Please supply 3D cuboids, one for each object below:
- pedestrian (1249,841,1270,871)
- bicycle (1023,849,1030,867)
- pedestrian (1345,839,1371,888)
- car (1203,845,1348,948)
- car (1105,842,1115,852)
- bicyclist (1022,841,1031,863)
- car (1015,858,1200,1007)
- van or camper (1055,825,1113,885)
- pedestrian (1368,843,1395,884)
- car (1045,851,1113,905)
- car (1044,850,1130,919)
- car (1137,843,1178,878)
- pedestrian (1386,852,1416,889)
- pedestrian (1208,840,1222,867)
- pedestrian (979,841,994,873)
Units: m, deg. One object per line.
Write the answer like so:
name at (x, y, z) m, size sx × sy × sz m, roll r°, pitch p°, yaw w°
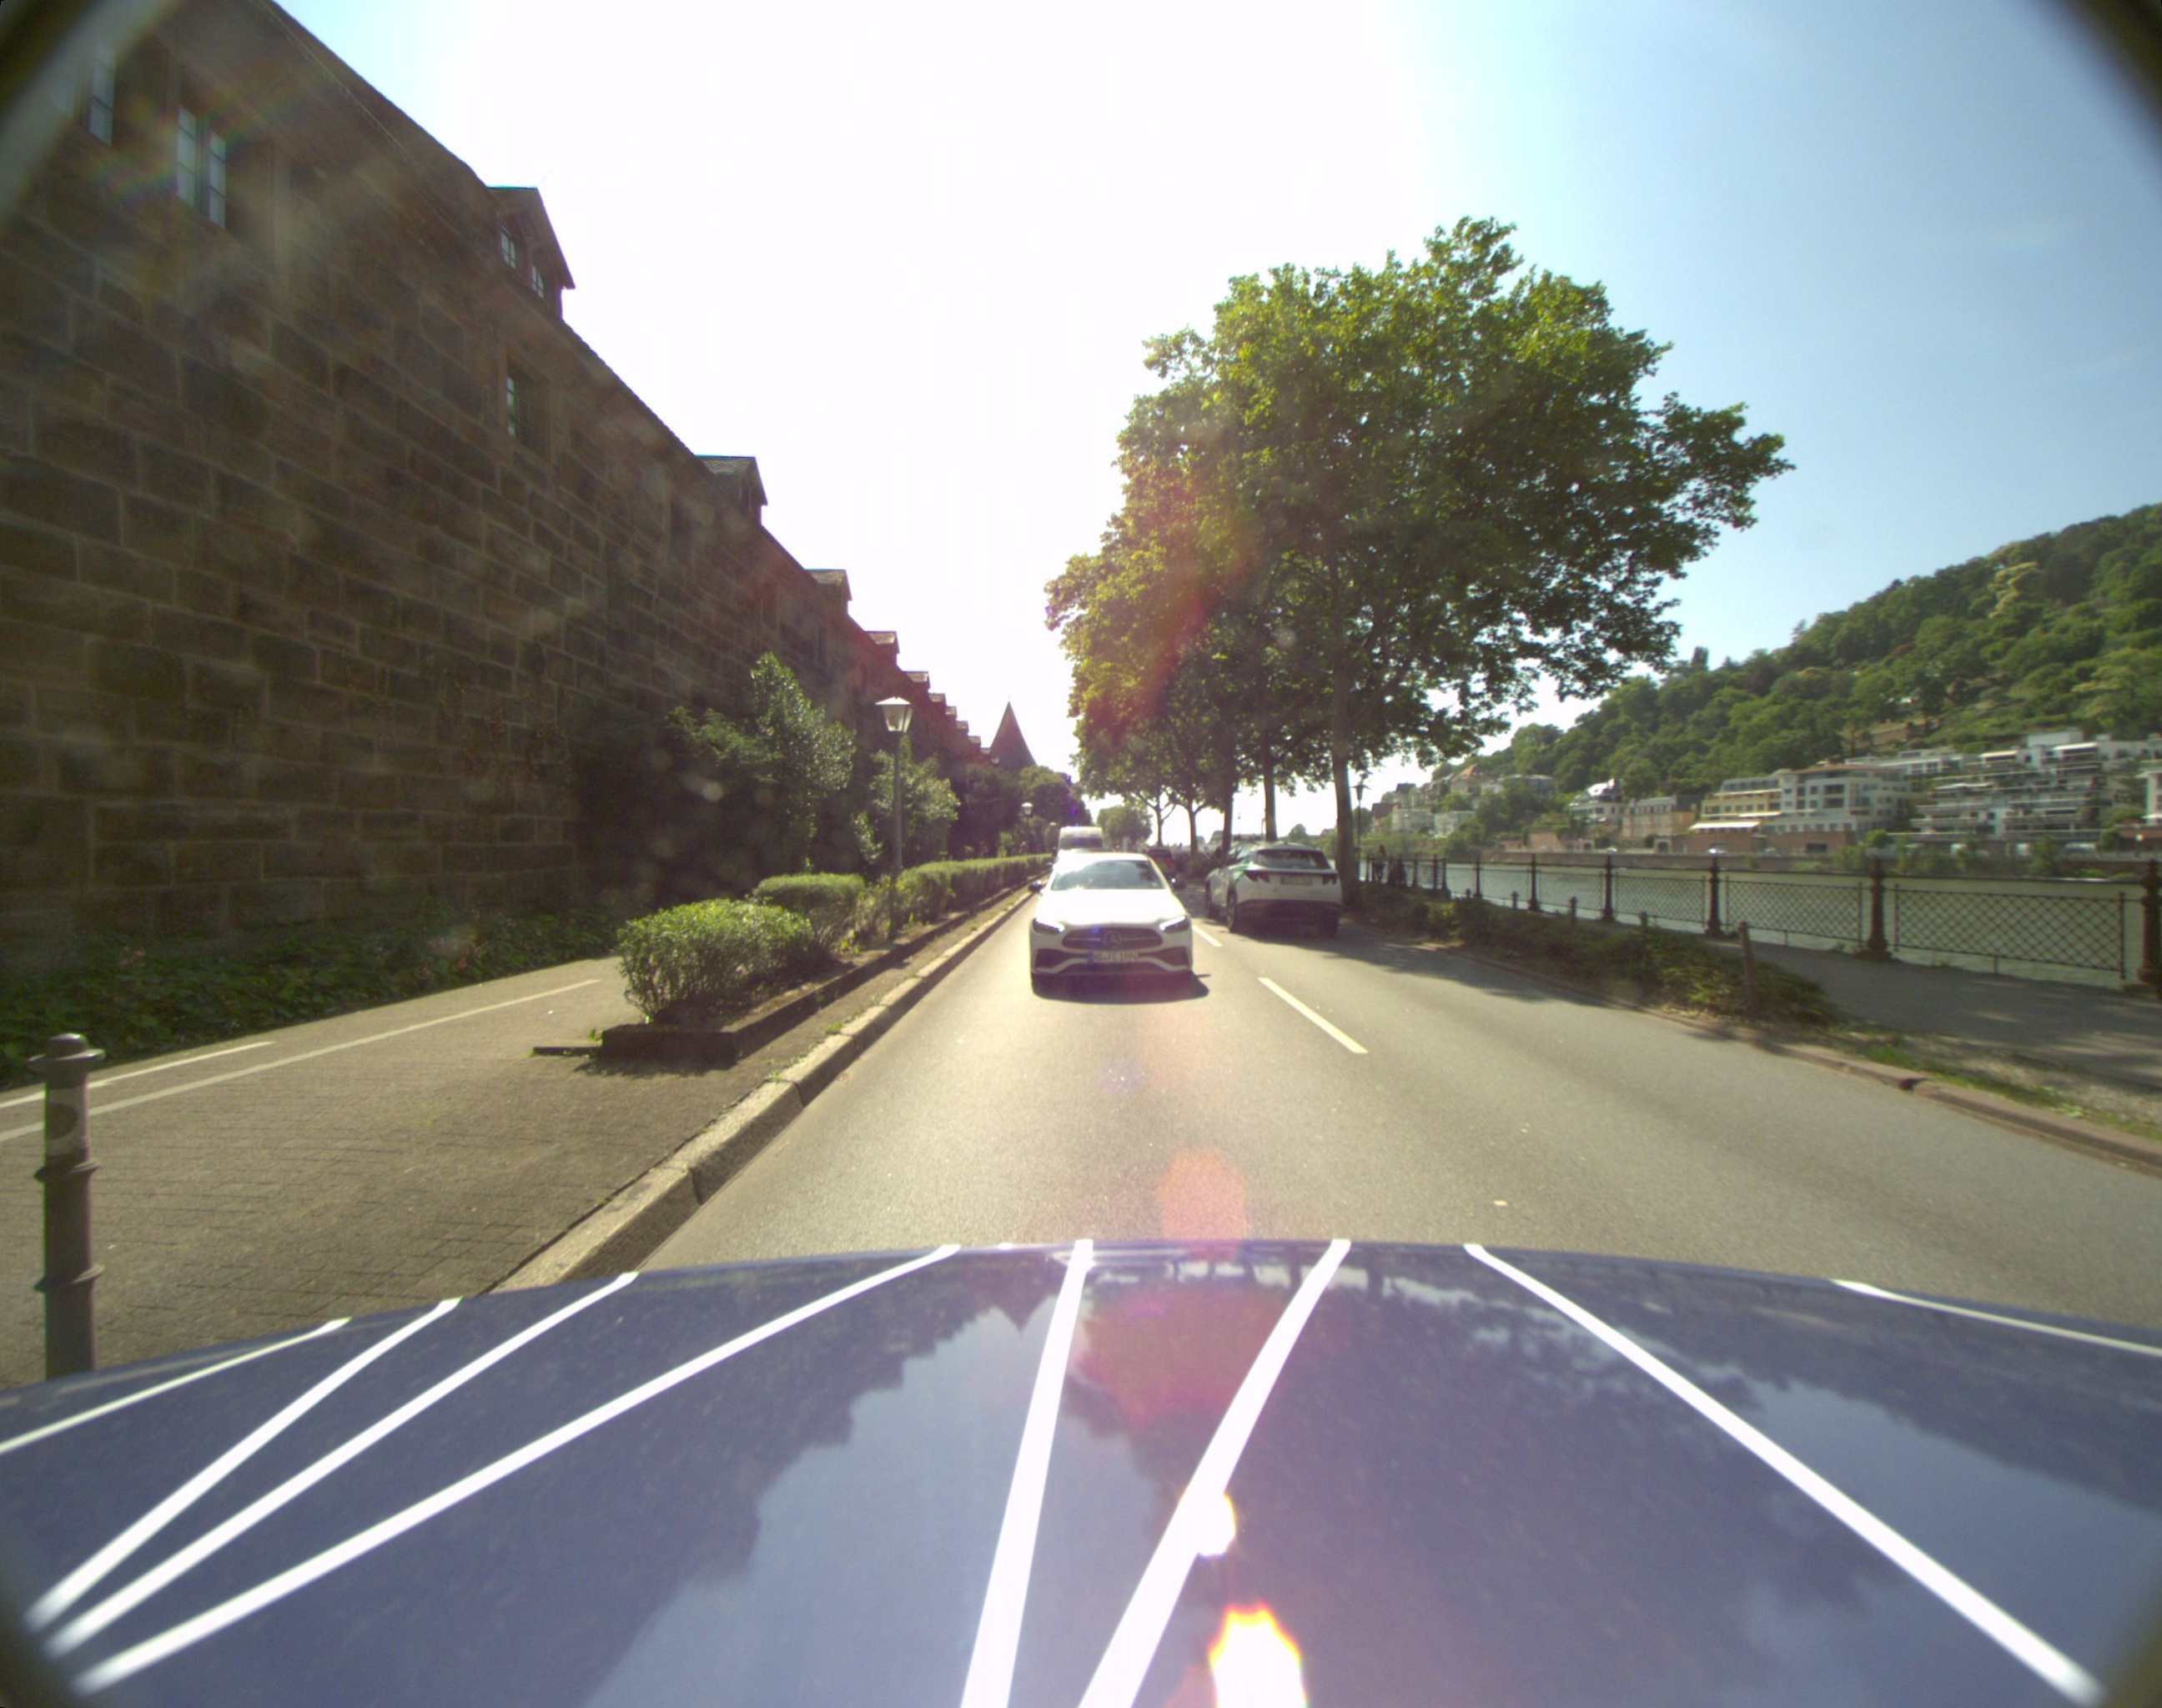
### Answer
pedestrian at (12.046, 0.123, 51.220) m, size 1.047 × 2.002 × 1.036 m, roll -1°, pitch 2°, yaw 31°
bicycle at (-3.783, 0.280, 53.131) m, size 0.406 × 1.169 × 1.576 m, roll -2°, pitch 2°, yaw -2°
pedestrian at (10.874, 0.372, 29.836) m, size 0.767 × 1.890 × 0.771 m, roll 1°, pitch 1°, yaw 8°
car at (3.542, 0.688, 14.614) m, size 1.773 × 1.650 × 4.000 m, roll 2°, pitch 1°, yaw 1°
car at (6.557, -1.601, 172.361) m, size 2.165 × 2.002 × 3.999 m, roll -2°, pitch 1°, yaw 1°
bicyclist at (-3.811, -0.117, 53.287) m, size 0.550 × 1.514 × 0.583 m, roll -2°, pitch 2°, yaw -1°
car at (0.298, 0.804, 9.806) m, size 1.833 × 1.395 × 4.269 m, roll -2°, pitch 1°, yaw 1°
van or camper at (0.131, 0.012, 33.336) m, size 2.313 × 2.358 × 5.034 m, roll 1°, pitch 1°, yaw 0°
pedestrian at (12.916, 0.393, 32.638) m, size 0.777 × 1.748 × 0.830 m, roll 1°, pitch 1°, yaw 0°
car at (-0.023, 0.650, 23.246) m, size 1.833 × 1.395 × 4.423 m, roll -2°, pitch 1°, yaw 1°
car at (0.163, 0.658, 18.625) m, size 1.833 × 1.428 × 4.269 m, roll -2°, pitch 1°, yaw 1°
car at (3.979, 0.289, 39.887) m, size 1.677 × 1.650 × 4.222 m, roll 3°, pitch 1°, yaw 0°
pedestrian at (12.137, 0.621, 28.835) m, size 0.768 × 1.379 × 0.770 m, roll 1°, pitch 1°, yaw 0°
pedestrian at (9.637, -0.036, 54.631) m, size 0.806 × 1.839 × 0.929 m, roll -2°, pitch 2°, yaw 1°
pedestrian at (-4.766, 0.143, 38.281) m, size 0.643 × 1.555 × 0.563 m, roll -2°, pitch 2°, yaw 1°
